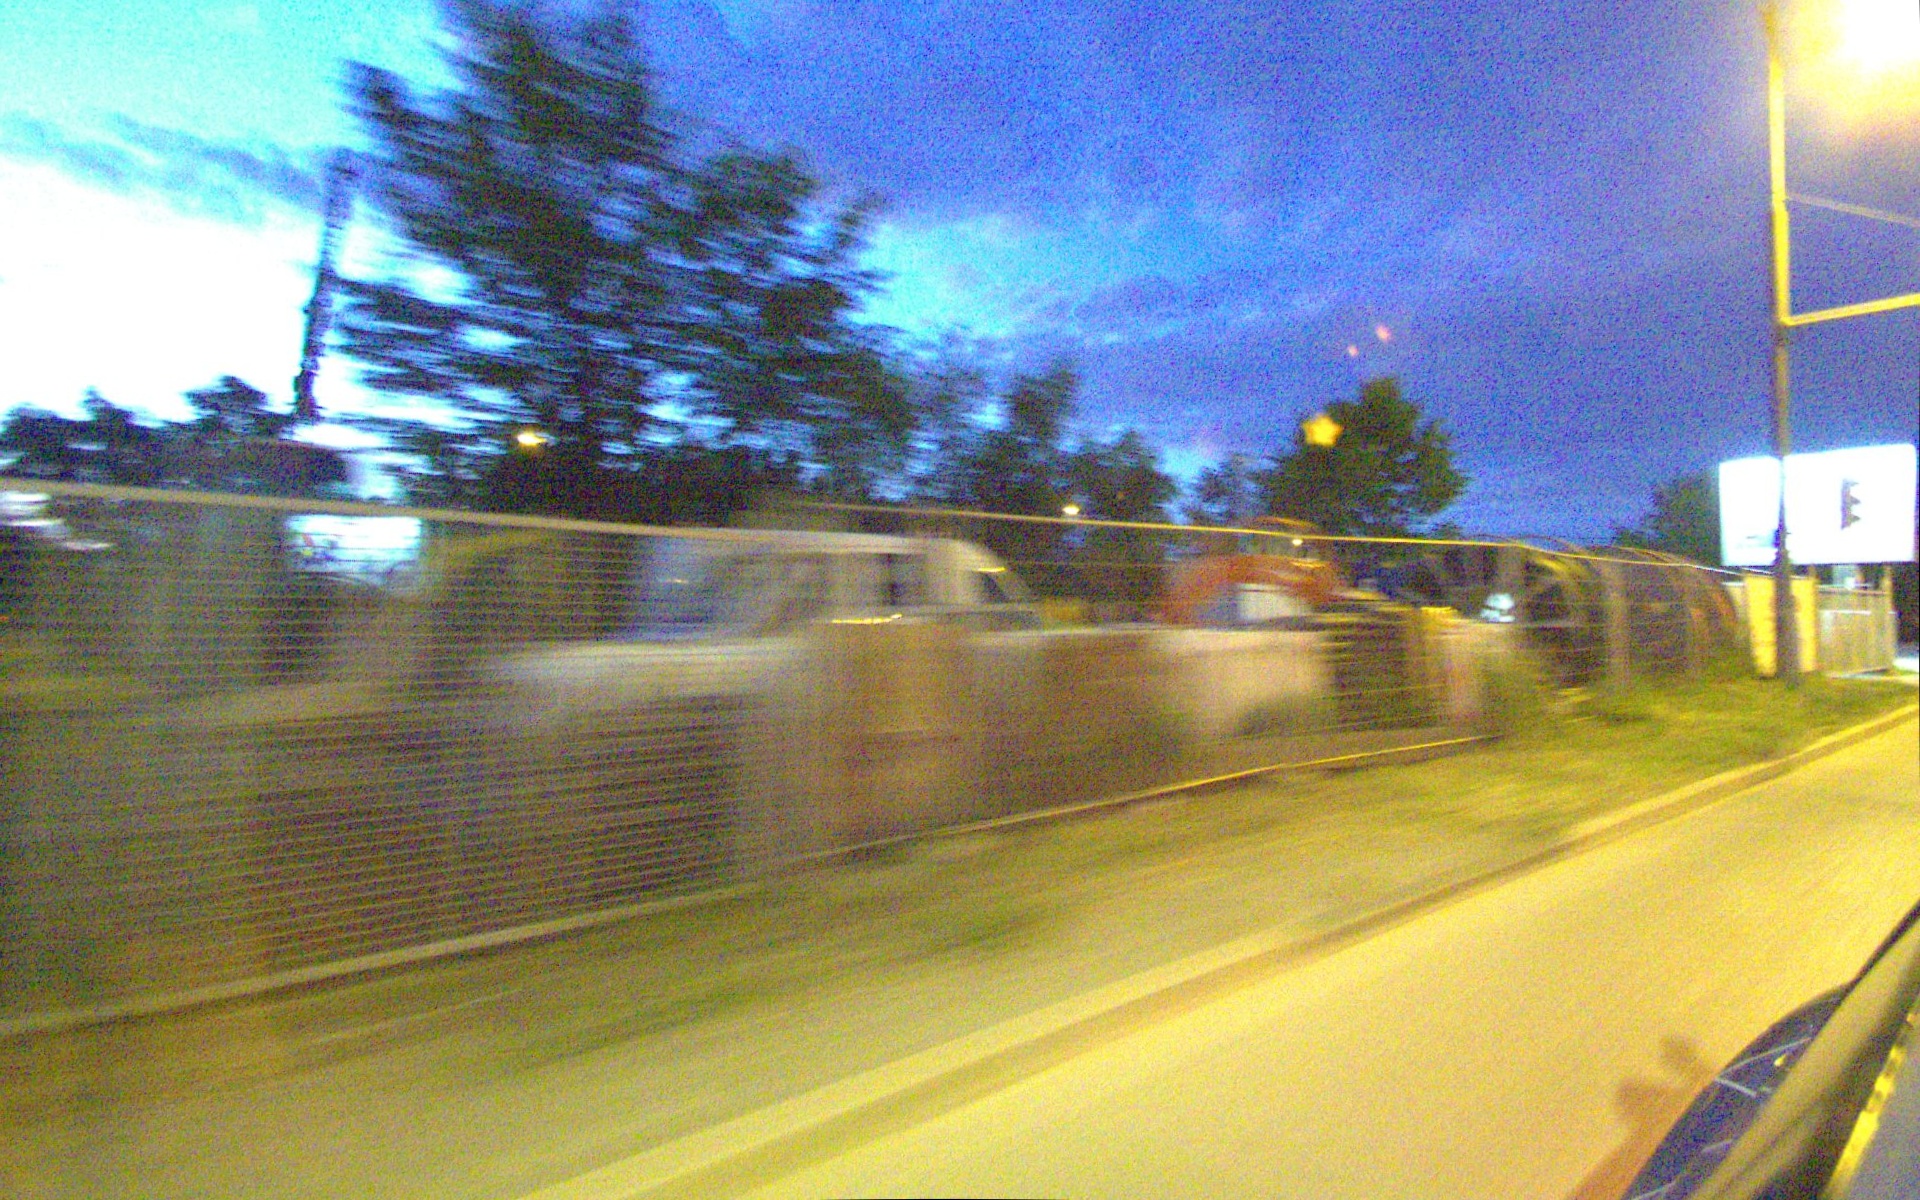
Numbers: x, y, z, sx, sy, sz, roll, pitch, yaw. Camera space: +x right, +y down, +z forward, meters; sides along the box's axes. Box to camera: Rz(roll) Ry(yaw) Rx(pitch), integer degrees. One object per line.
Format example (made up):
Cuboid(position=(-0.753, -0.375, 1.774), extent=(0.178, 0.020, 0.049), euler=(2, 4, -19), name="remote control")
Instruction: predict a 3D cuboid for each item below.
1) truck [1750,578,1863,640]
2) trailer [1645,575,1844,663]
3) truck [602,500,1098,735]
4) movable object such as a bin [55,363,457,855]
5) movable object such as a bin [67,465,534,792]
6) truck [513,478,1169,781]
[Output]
Cuboid(position=(34.778, 0.369, 41.476), extent=(7.608, 2.313, 2.381), euler=(0, -1, -41), name="truck")
Cuboid(position=(19.677, 0.441, 25.594), extent=(1.580, 2.039, 3.767), euler=(1, 0, -15), name="trailer")
Cuboid(position=(-1.338, 0.238, 15.002), extent=(7.178, 2.784, 2.189), euler=(0, -2, -36), name="truck")
Cuboid(position=(-4.240, 0.061, 6.128), extent=(1.676, 2.414, 1.593), euler=(-2, -2, 39), name="movable object such as a bin")
Cuboid(position=(-6.810, 0.271, 10.636), extent=(3.798, 2.760, 2.230), euler=(1, -2, -42), name="movable object such as a bin")
Cuboid(position=(-0.893, 0.282, 11.275), extent=(7.181, 2.454, 2.188), euler=(1, -2, -38), name="truck")
